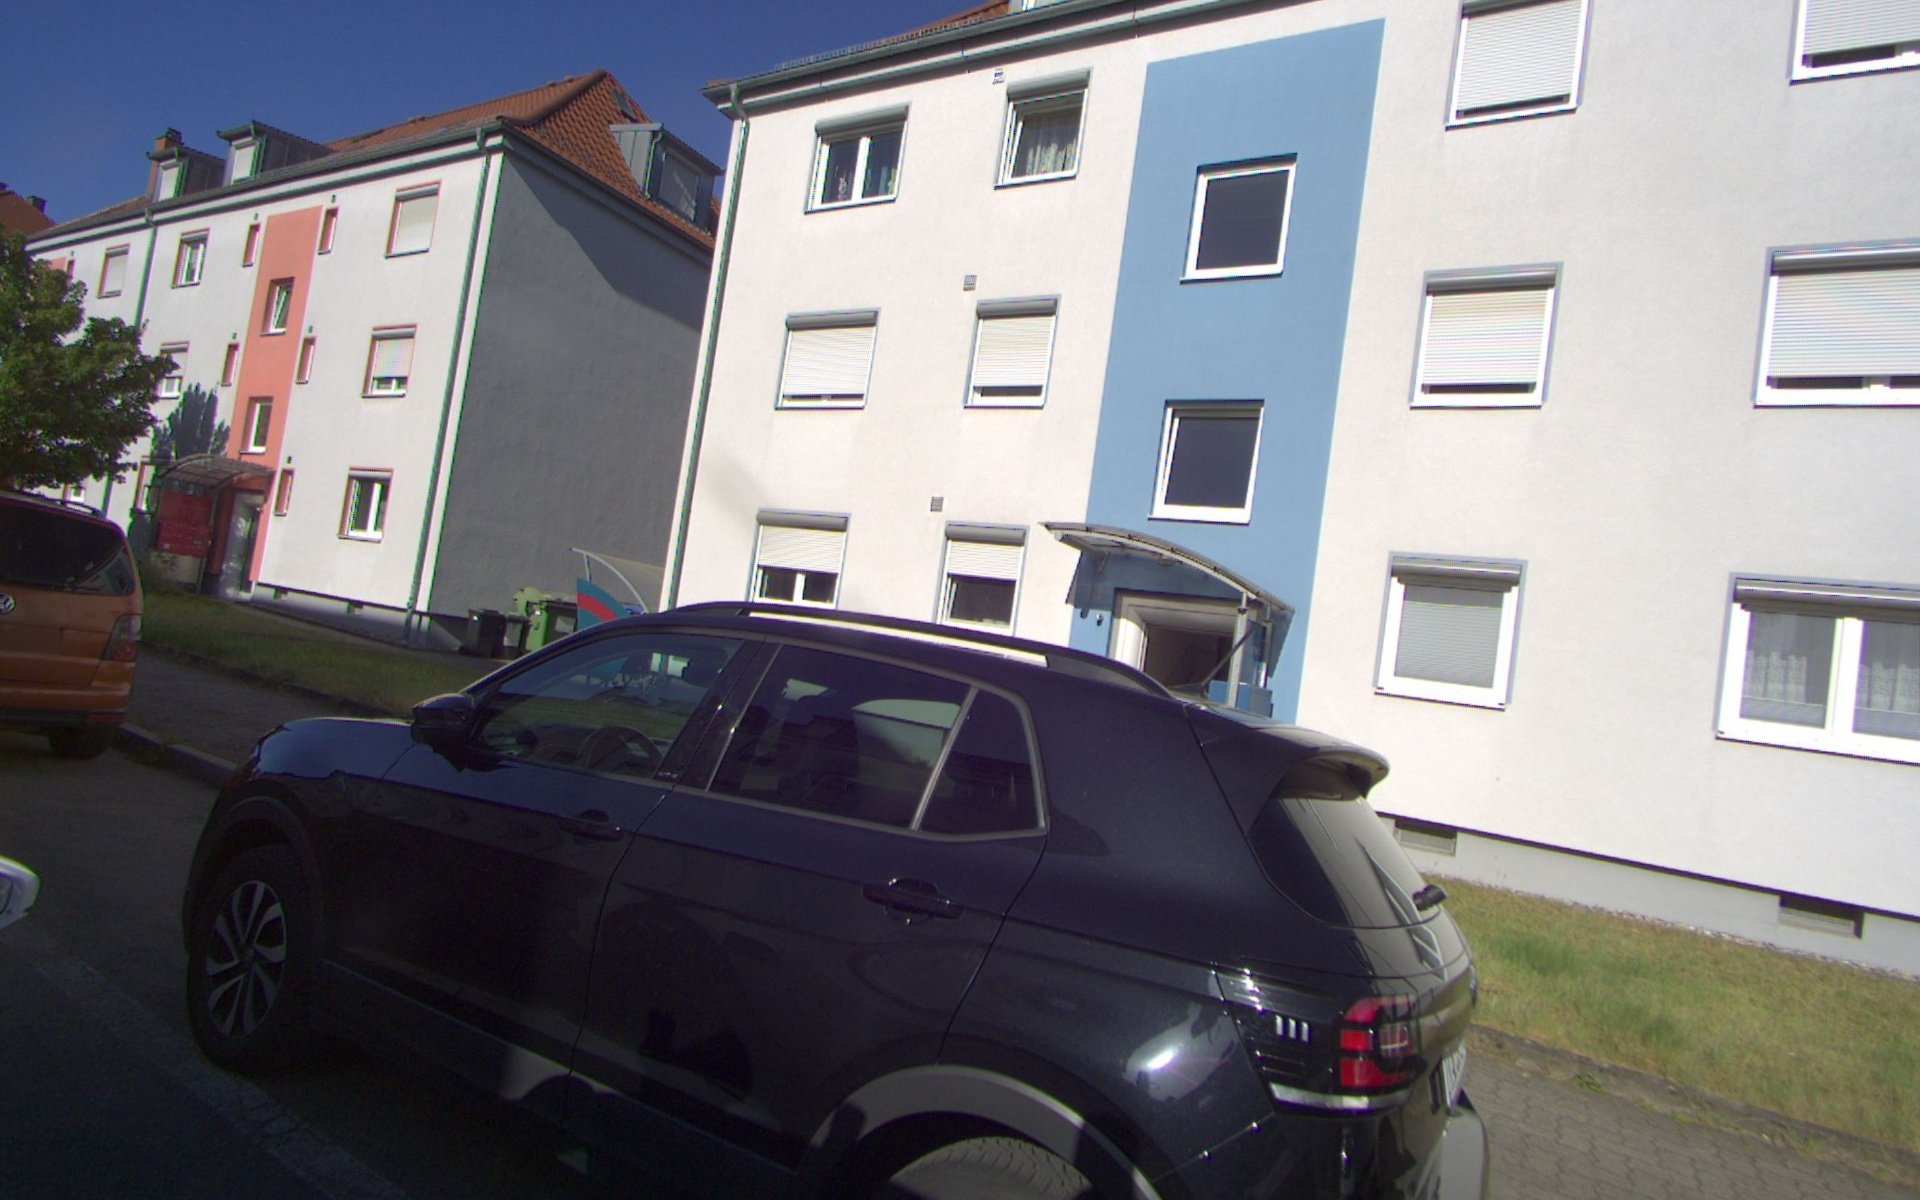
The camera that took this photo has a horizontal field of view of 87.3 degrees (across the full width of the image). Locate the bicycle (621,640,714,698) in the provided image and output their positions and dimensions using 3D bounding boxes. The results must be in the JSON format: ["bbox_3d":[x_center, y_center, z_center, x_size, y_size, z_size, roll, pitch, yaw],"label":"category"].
[{"bbox_3d":[-5.228,1.222,17.930,1.758,0.767,0.454,7,-2,32],"label":"bicycle"}]

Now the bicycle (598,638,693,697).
[{"bbox_3d":[-5.459,1.163,17.442,1.751,0.776,0.454,7,-2,32],"label":"bicycle"}]

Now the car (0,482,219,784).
[{"bbox_3d":[-7.120,-0.003,6.734,4.058,1.685,1.869,7,-5,31],"label":"car"}]

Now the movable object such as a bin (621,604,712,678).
[{"bbox_3d":[-6.626,0.936,22.749,1.168,1.431,1.363,7,-3,31],"label":"movable object such as a bin"}]

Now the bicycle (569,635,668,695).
[{"bbox_3d":[-5.818,1.099,17.109,1.838,0.749,0.454,7,-2,32],"label":"bicycle"}]

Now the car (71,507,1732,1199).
[{"bbox_3d":[-0.604,0.830,3.038,4.324,1.612,1.718,7,-4,31],"label":"car"}]

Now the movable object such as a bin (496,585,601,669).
[{"bbox_3d":[-8.251,0.560,20.220,1.168,1.431,1.363,7,-3,31],"label":"movable object such as a bin"}]

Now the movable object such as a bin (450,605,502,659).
[{"bbox_3d":[-9.126,0.607,18.969,0.622,0.896,0.524,7,-3,32],"label":"movable object such as a bin"}]

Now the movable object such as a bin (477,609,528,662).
[{"bbox_3d":[-8.834,0.689,19.439,0.622,0.896,0.524,7,-3,32],"label":"movable object such as a bin"}]

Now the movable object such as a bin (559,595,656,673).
[{"bbox_3d":[-7.527,0.736,21.514,1.168,1.431,1.363,7,-3,31],"label":"movable object such as a bin"}]
